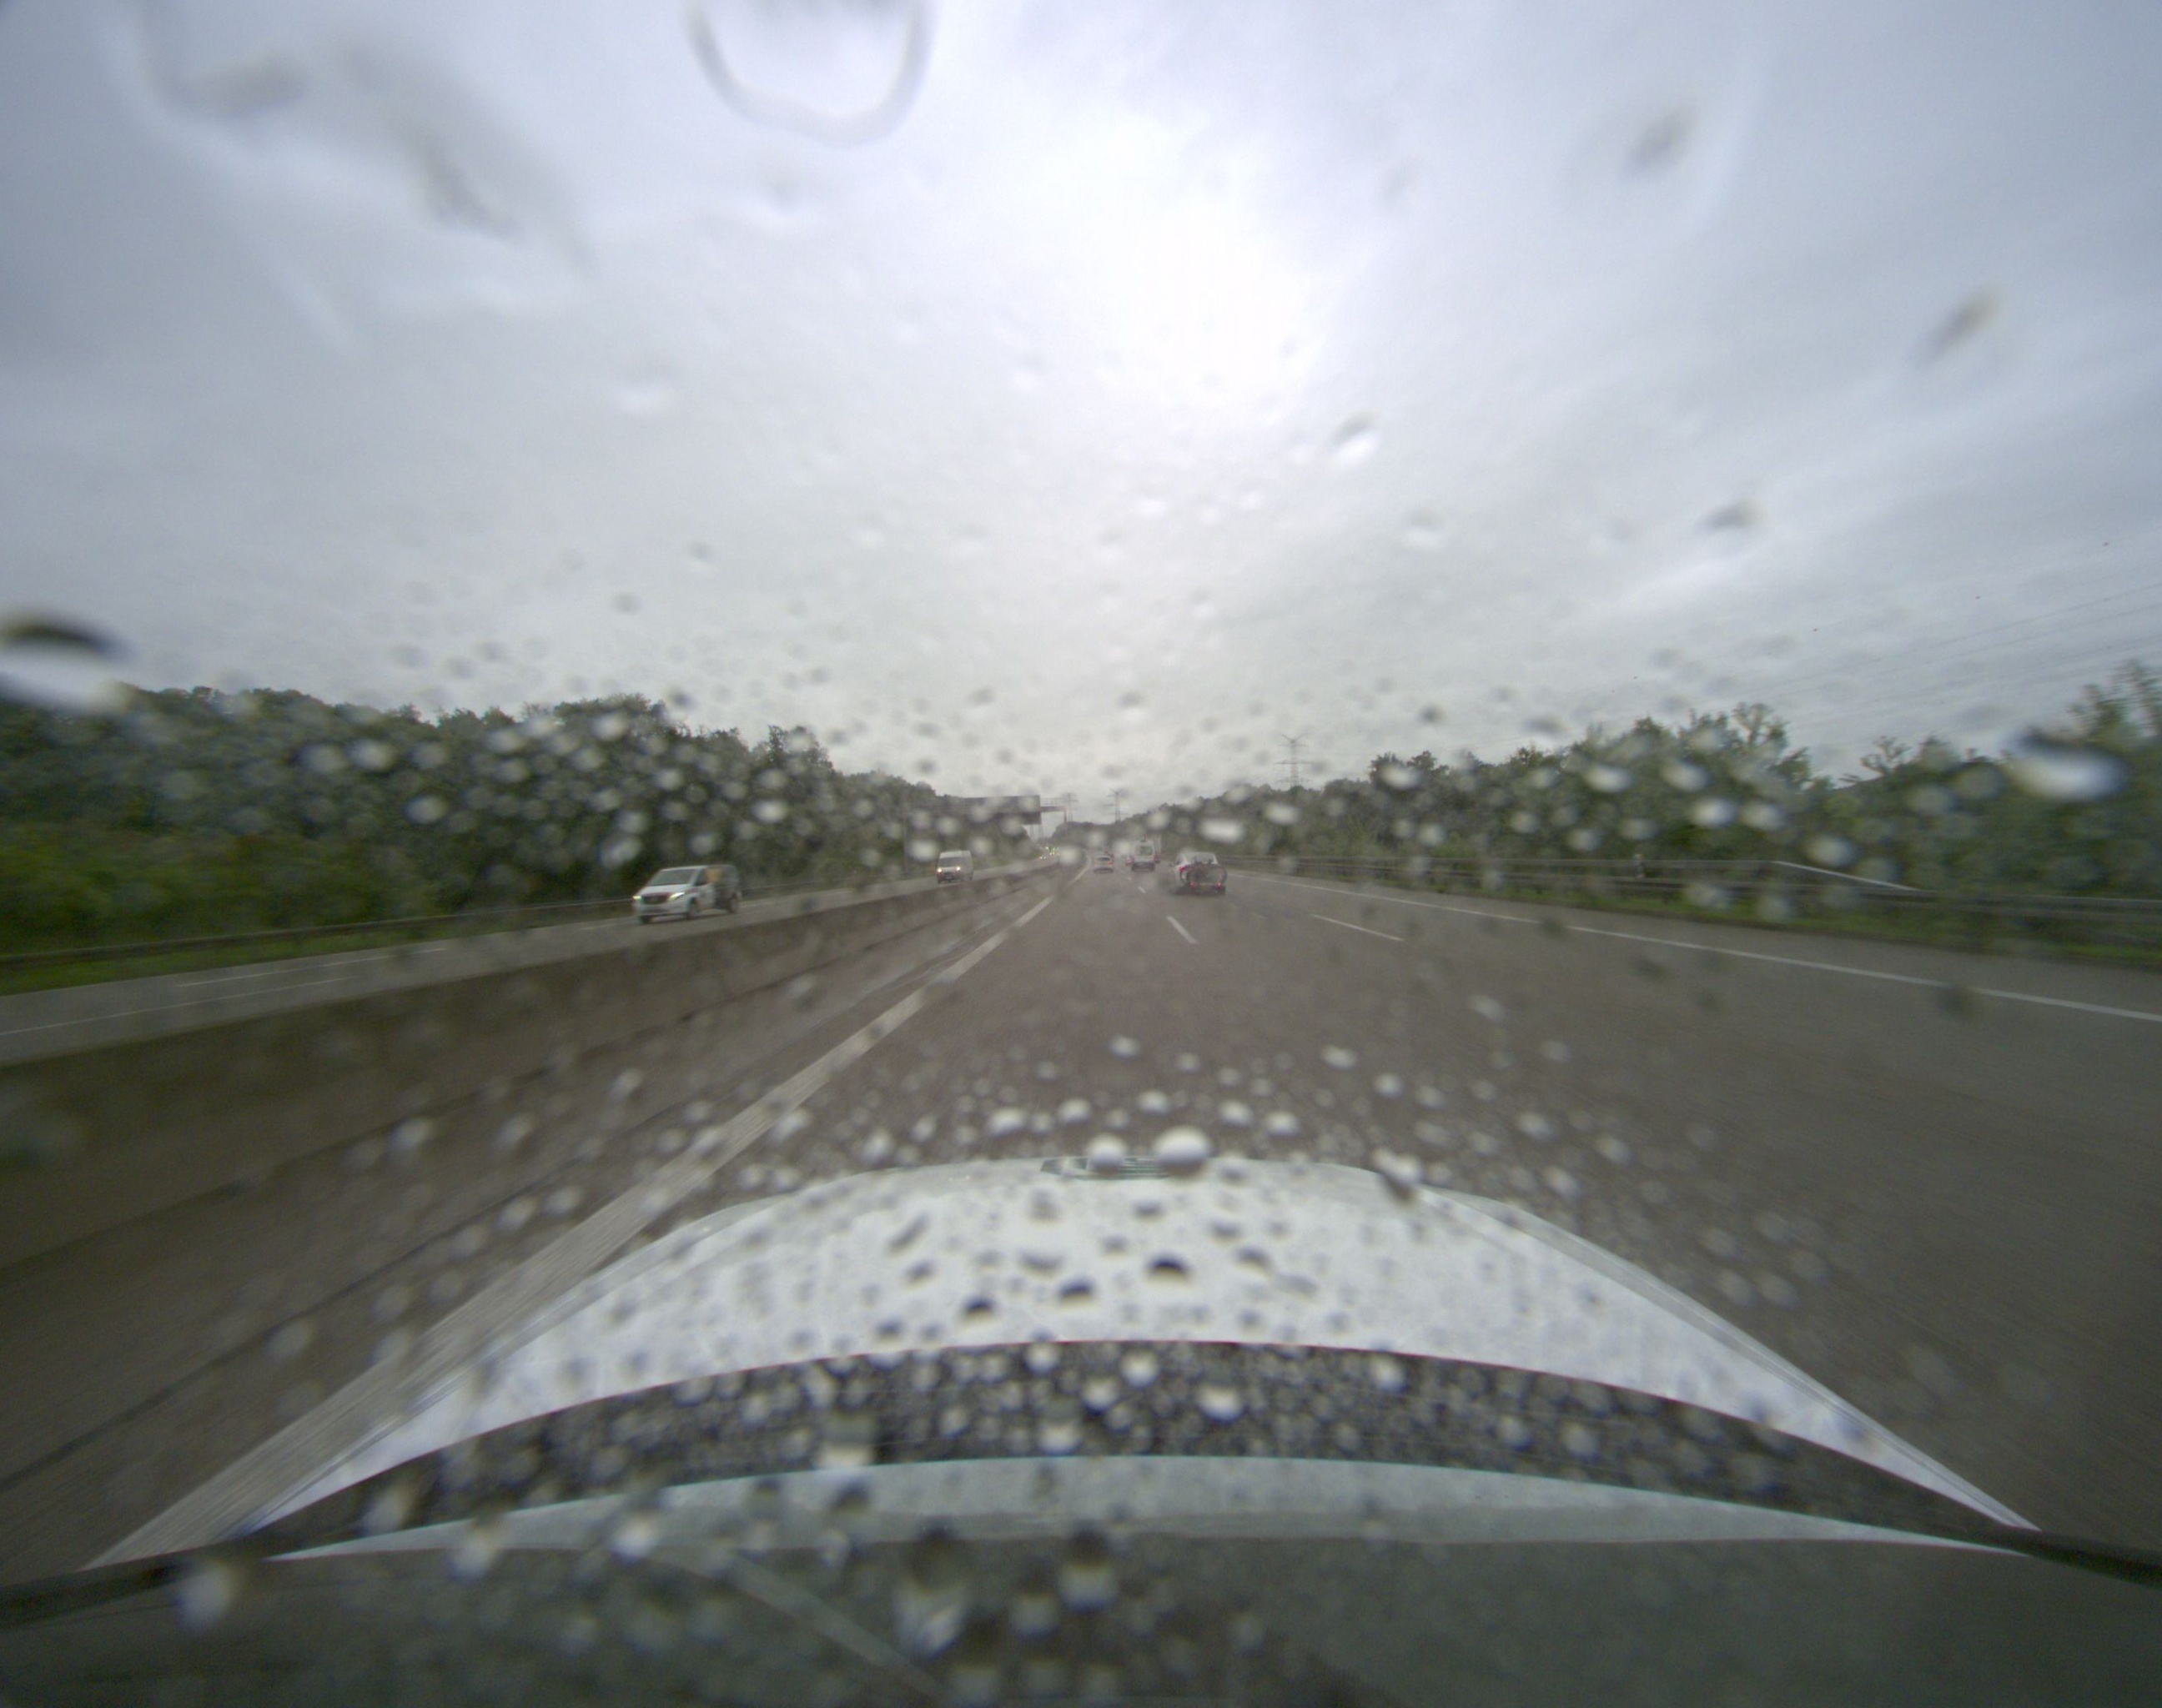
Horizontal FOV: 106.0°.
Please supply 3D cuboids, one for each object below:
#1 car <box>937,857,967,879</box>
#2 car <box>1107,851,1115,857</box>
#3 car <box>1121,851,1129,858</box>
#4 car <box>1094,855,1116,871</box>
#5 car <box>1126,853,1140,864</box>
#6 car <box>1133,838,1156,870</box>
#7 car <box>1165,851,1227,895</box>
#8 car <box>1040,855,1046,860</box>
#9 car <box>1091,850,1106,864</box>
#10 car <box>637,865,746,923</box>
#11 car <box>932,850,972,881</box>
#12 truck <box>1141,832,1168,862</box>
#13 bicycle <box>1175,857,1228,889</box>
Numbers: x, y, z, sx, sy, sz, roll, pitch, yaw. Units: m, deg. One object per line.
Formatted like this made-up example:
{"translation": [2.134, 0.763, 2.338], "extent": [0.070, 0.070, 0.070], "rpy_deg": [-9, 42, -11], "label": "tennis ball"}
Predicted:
{"translation": [-13.824, 1.503, 87.861], "extent": [1.986, 2.168, 6.419], "rpy_deg": [-2, 0, 2], "label": "car"}
{"translation": [7.858, 0.059, 213.640], "extent": [1.986, 1.574, 4.001], "rpy_deg": [-3, -1, 1], "label": "car"}
{"translation": [11.146, 0.163, 206.608], "extent": [1.987, 1.486, 4.000], "rpy_deg": [-4, 0, 1], "label": "car"}
{"translation": [2.081, 0.789, 70.917], "extent": [1.860, 1.288, 4.001], "rpy_deg": [-3, 0, 1], "label": "car"}
{"translation": [6.882, 0.572, 108.035], "extent": [1.849, 1.422, 4.002], "rpy_deg": [-1, 0, 2], "label": "car"}
{"translation": [5.754, 0.009, 74.215], "extent": [1.985, 2.864, 4.003], "rpy_deg": [-1, 0, 3], "label": "car"}
{"translation": [4.441, 0.670, 32.142], "extent": [1.854, 1.568, 4.965], "rpy_deg": [-1, 0, 1], "label": "car"}
{"translation": [-11.324, 0.950, 241.360], "extent": [1.859, 1.442, 3.996], "rpy_deg": [-2, 0, -3], "label": "car"}
{"translation": [2.297, 0.429, 105.079], "extent": [1.839, 1.772, 4.001], "rpy_deg": [0, 0, 1], "label": "car"}
{"translation": [-14.543, 1.414, 30.733], "extent": [1.735, 1.904, 4.532], "rpy_deg": [-3, 0, 2], "label": "car"}
{"translation": [-10.311, 0.887, 65.619], "extent": [2.270, 2.331, 6.172], "rpy_deg": [-2, 0, -1], "label": "car"}
{"translation": [11.621, -1.070, 130.142], "extent": [3.588, 4.332, 13.210], "rpy_deg": [-2, 0, 3], "label": "truck"}
{"translation": [4.313, 0.694, 29.177], "extent": [1.747, 1.090, 0.914], "rpy_deg": [-1, -1, 0], "label": "bicycle"}
